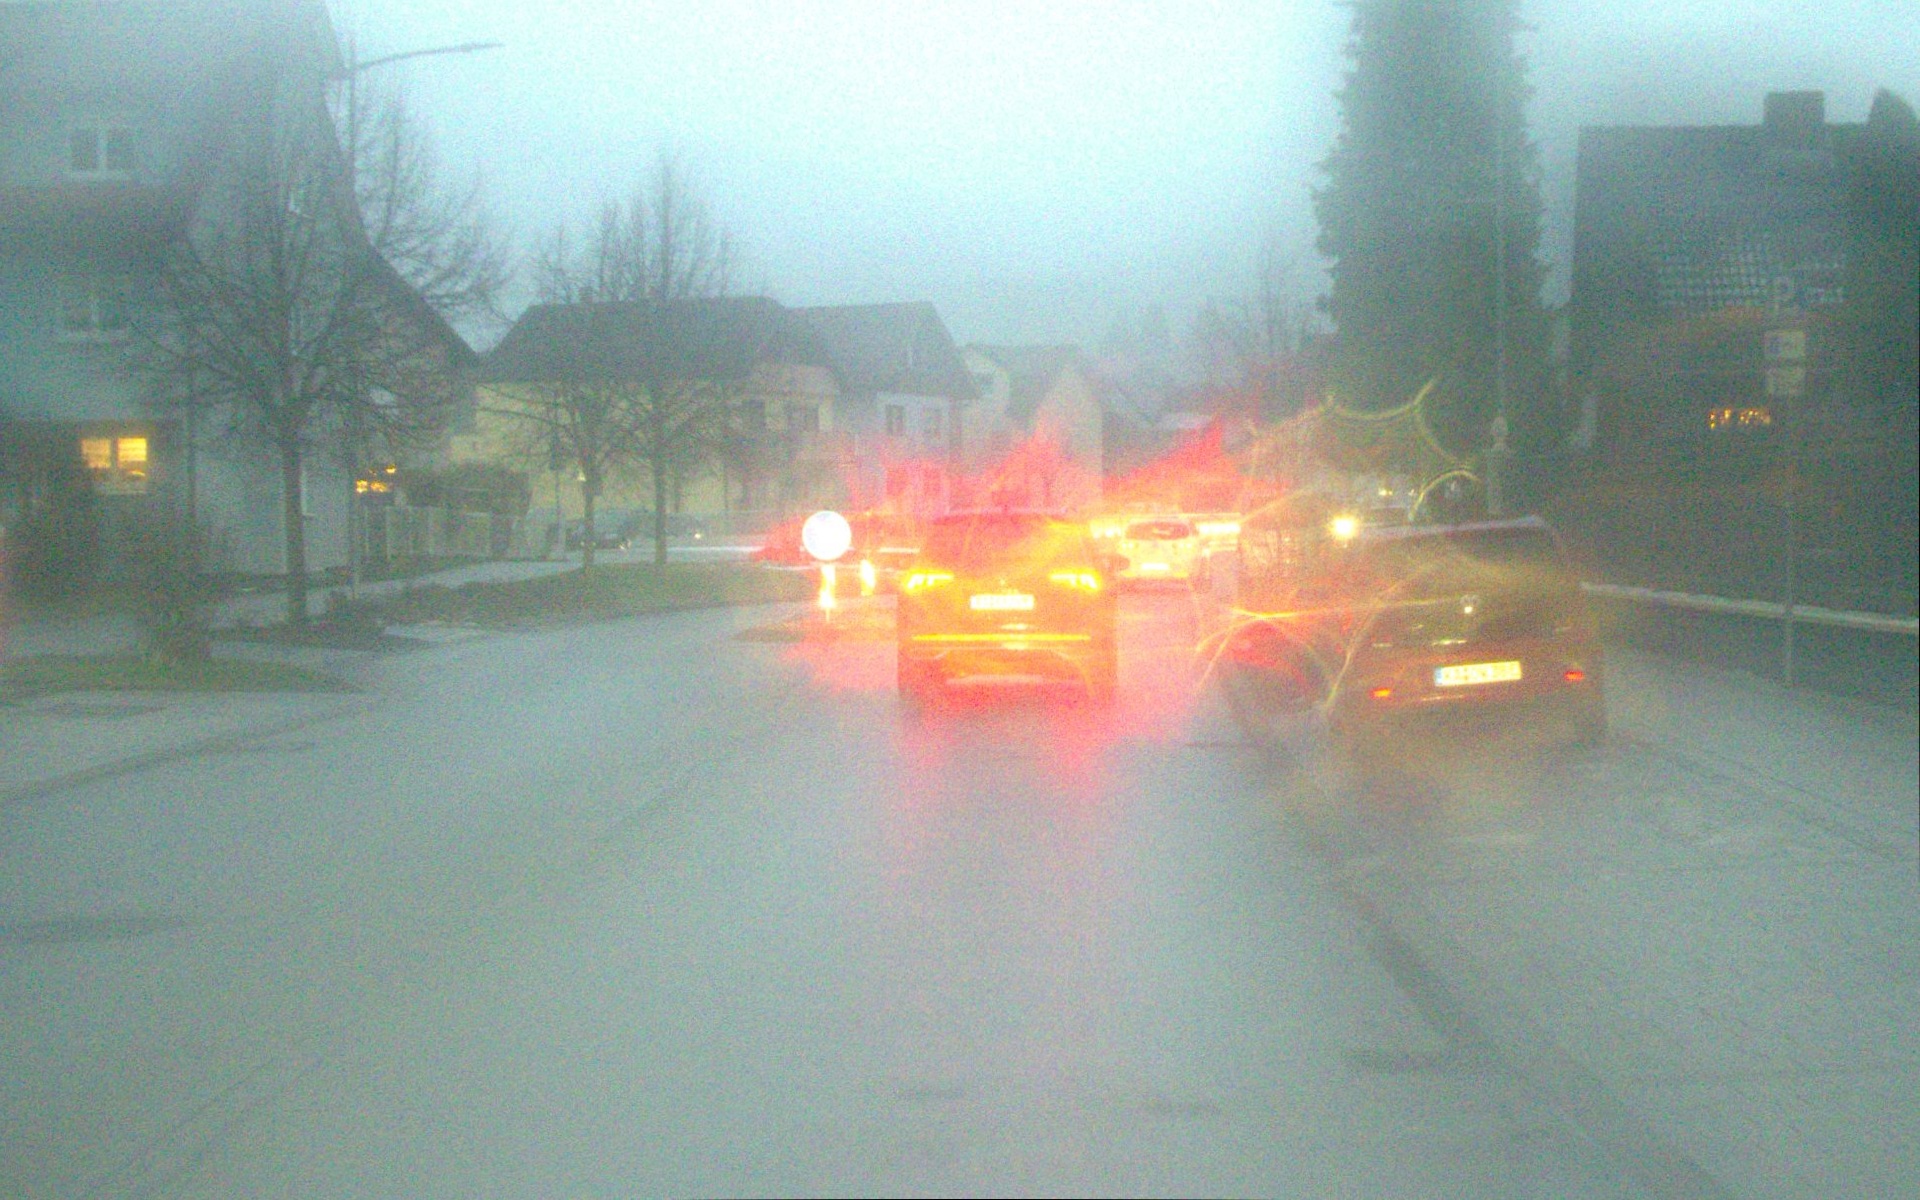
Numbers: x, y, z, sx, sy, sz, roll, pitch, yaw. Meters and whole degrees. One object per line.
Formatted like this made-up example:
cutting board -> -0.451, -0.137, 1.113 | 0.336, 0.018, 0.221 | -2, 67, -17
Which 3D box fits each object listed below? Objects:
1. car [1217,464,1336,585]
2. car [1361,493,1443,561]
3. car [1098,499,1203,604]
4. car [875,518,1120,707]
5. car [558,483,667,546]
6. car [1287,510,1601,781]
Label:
car -> 5.780, -1.413, 62.639 | 1.978, 2.006, 5.744 | -2, 2, 6
car -> 12.464, -2.076, 96.753 | 1.746, 1.779, 4.333 | -2, 2, 14
car -> 3.814, -0.976, 68.266 | 1.994, 2.007, 4.000 | 1, 1, 4
car -> 0.313, 0.056, 30.006 | 1.993, 1.520, 4.000 | 0, 1, 0
car -> -11.592, -2.858, 114.807 | 1.996, 2.006, 3.996 | 2, 2, 21
car -> 3.101, 0.241, 22.588 | 1.649, 1.534, 3.390 | -4, 1, 3
